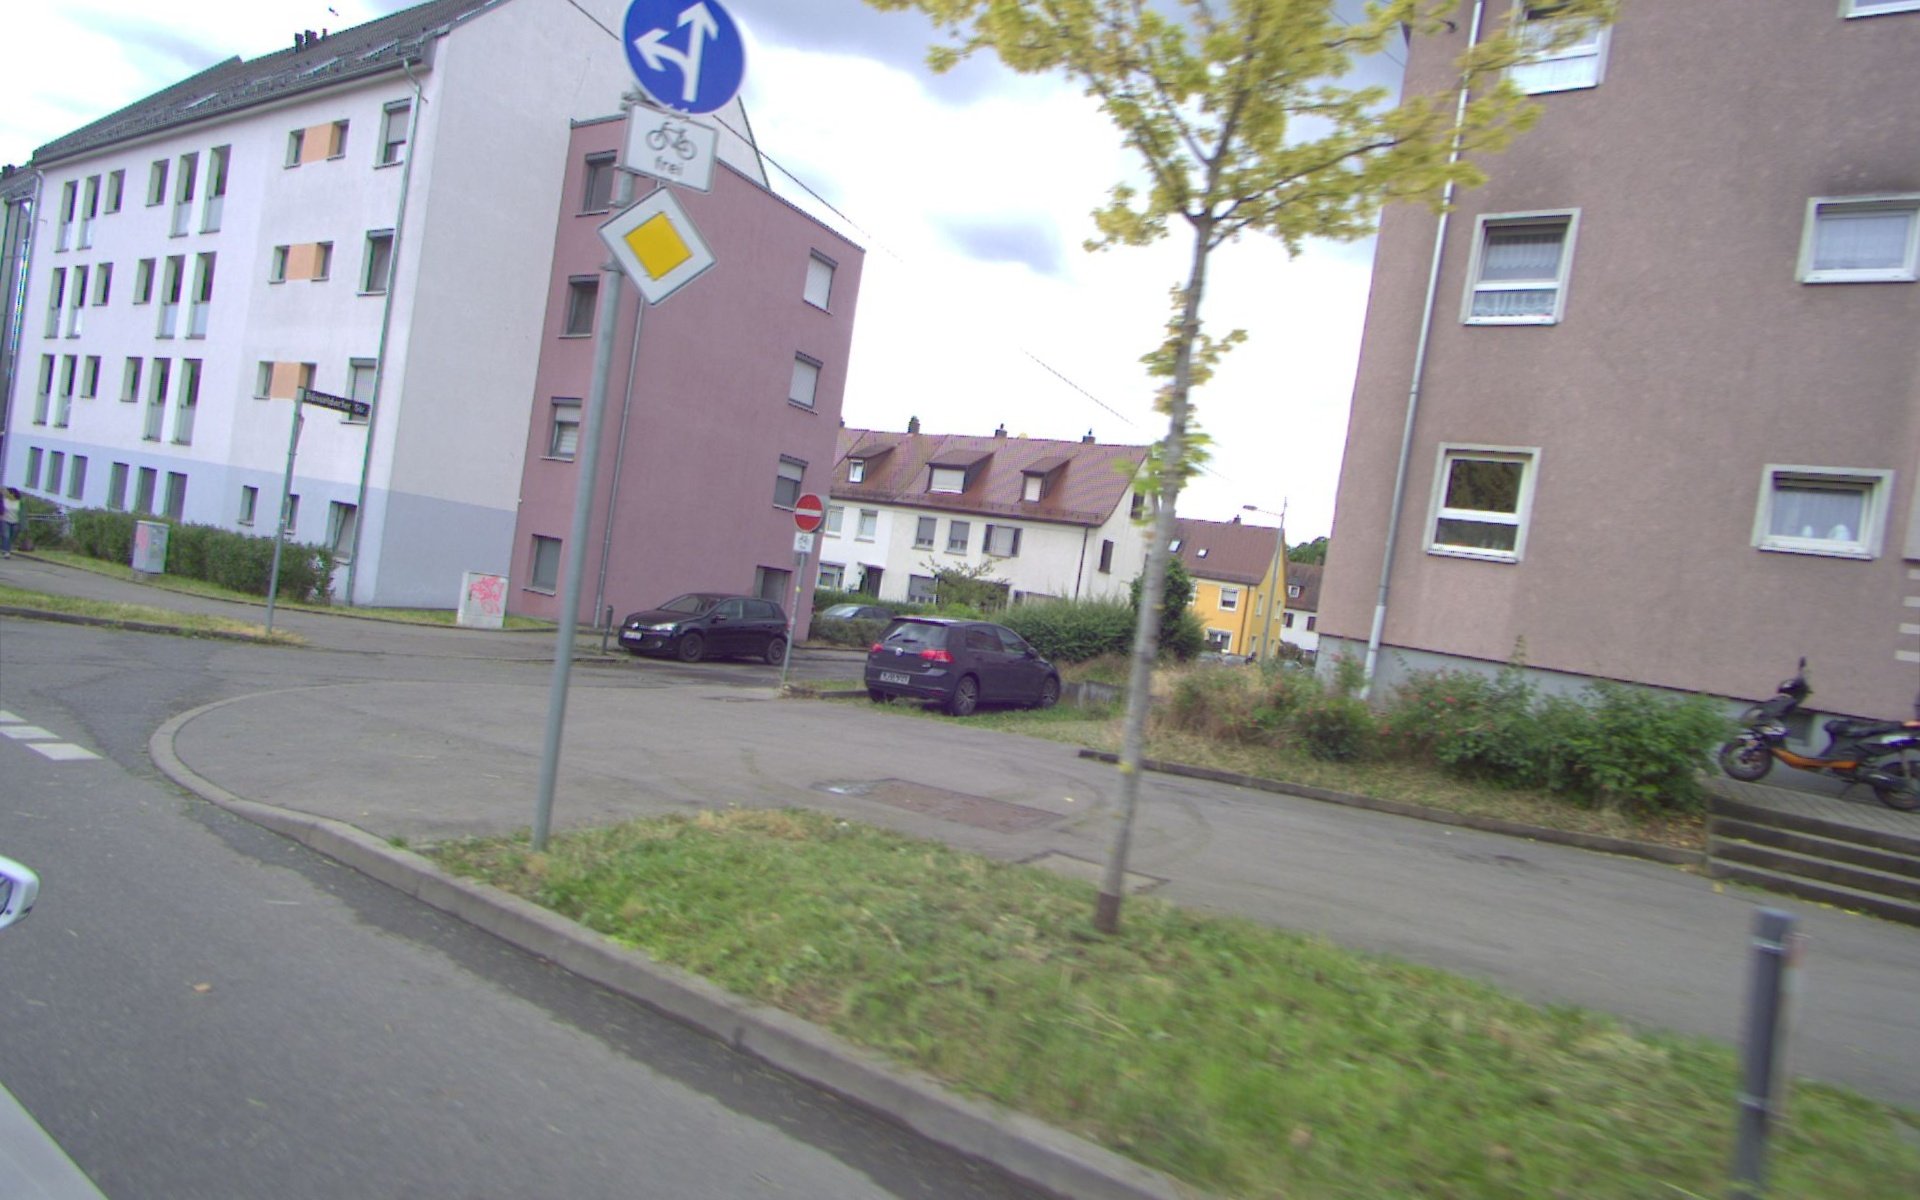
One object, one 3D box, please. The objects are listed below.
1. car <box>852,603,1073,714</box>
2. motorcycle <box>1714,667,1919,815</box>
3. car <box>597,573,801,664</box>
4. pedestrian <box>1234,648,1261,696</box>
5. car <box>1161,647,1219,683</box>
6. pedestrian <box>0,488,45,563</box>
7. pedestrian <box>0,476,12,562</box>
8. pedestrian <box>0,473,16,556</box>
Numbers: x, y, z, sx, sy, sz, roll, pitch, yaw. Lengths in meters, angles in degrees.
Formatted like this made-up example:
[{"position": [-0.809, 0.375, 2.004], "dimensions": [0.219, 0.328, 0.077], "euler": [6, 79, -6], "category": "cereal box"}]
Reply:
[{"position": [0.176, 0.982, 16.462], "dimensions": [1.661, 1.470, 3.992], "euler": [5, -2, 32], "category": "car"}, {"position": [9.056, 1.441, 10.328], "dimensions": [1.935, 1.242, 0.591], "euler": [7, 0, 32], "category": "motorcycle"}, {"position": [-5.499, 0.460, 21.642], "dimensions": [1.731, 1.473, 3.992], "euler": [7, -1, 33], "category": "car"}, {"position": [11.552, 2.898, 40.394], "dimensions": [0.705, 1.817, 0.732], "euler": [7, 0, 30], "category": "pedestrian"}, {"position": [11.395, 3.230, 49.608], "dimensions": [1.675, 1.437, 3.997], "euler": [7, -1, 28], "category": "car"}, {"position": [-21.569, -1.704, 23.069], "dimensions": [0.565, 1.627, 0.657], "euler": [7, 4, 23], "category": "pedestrian"}, {"position": [-21.794, -1.843, 22.352], "dimensions": [0.752, 1.910, 0.672], "euler": [6, 0, 20], "category": "pedestrian"}, {"position": [-22.689, -2.027, 23.449], "dimensions": [0.608, 1.910, 0.672], "euler": [6, 0, 15], "category": "pedestrian"}]
